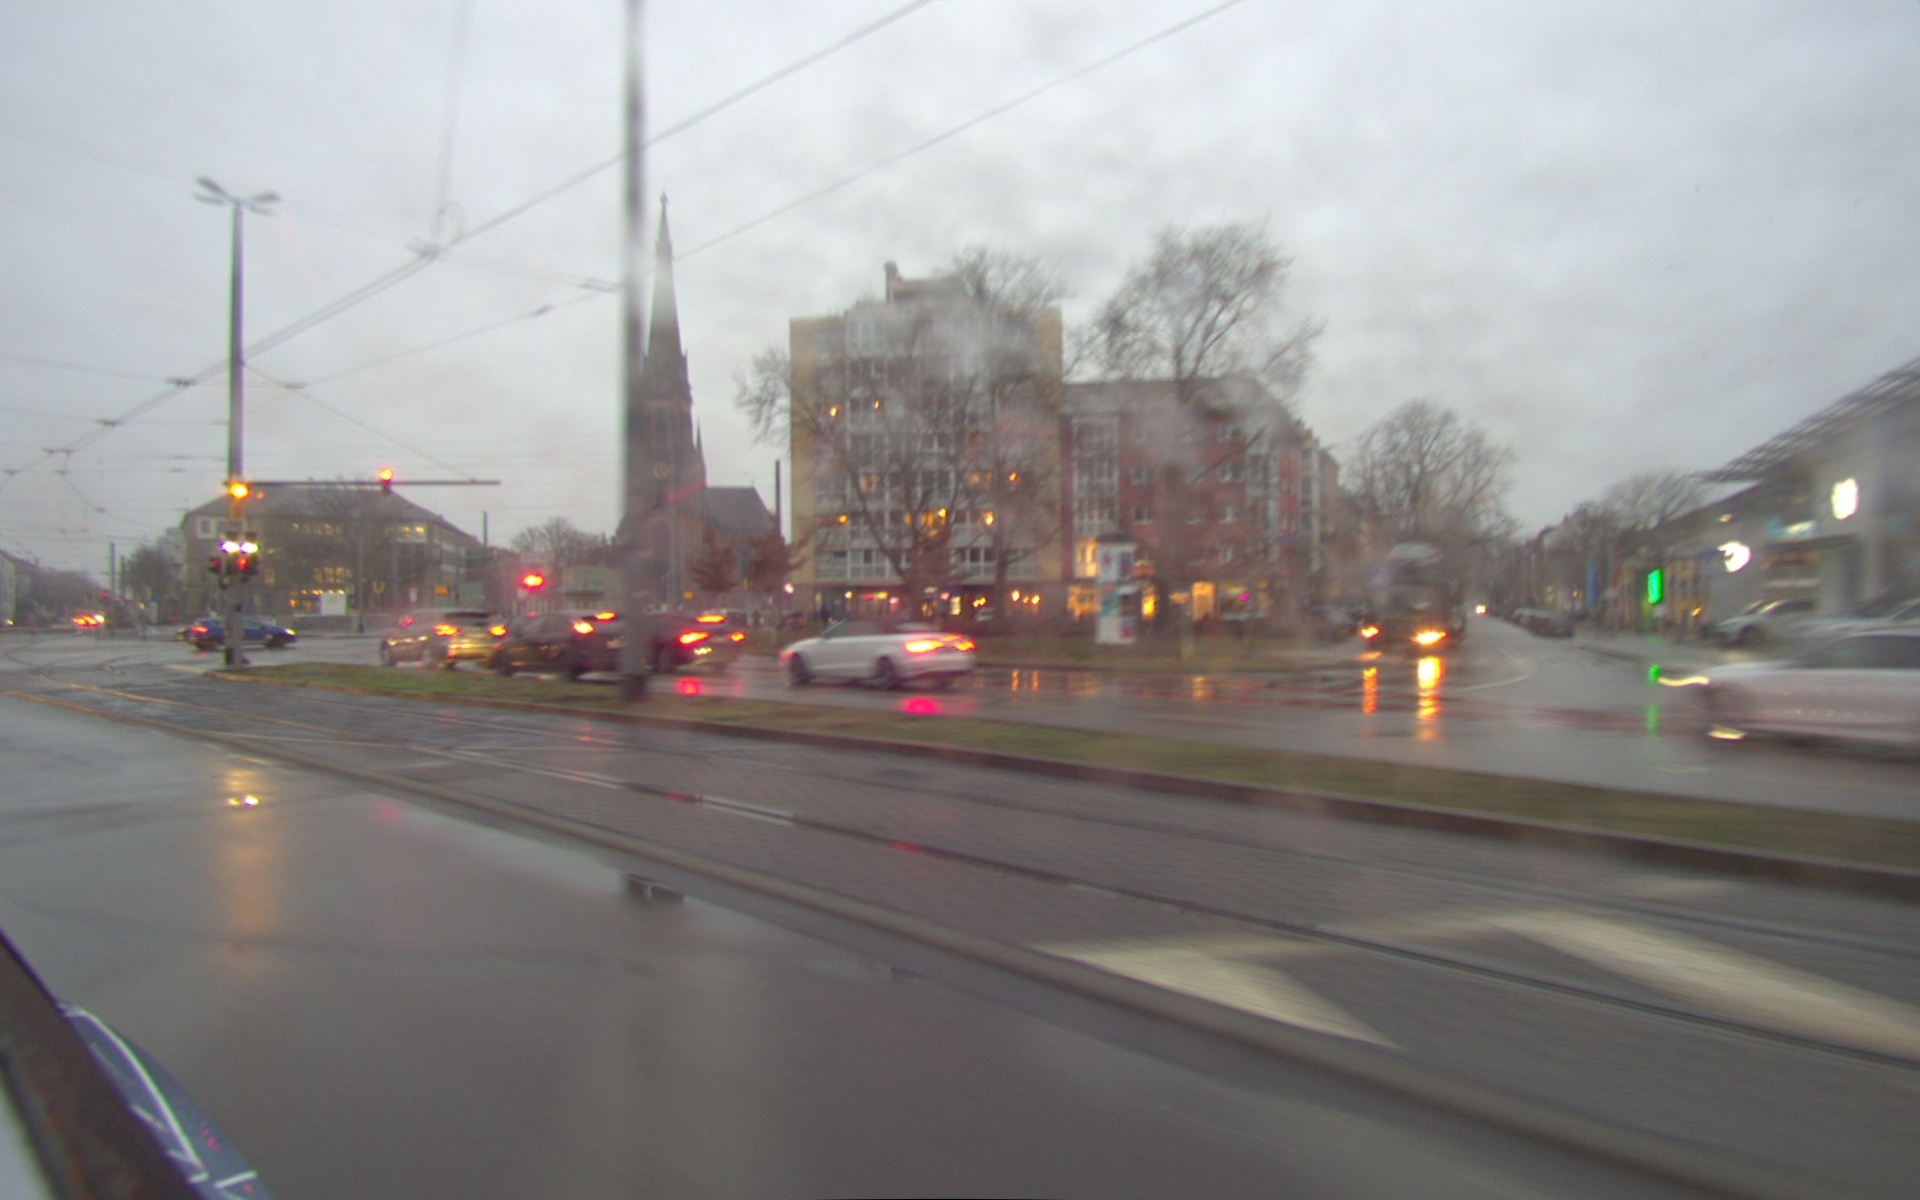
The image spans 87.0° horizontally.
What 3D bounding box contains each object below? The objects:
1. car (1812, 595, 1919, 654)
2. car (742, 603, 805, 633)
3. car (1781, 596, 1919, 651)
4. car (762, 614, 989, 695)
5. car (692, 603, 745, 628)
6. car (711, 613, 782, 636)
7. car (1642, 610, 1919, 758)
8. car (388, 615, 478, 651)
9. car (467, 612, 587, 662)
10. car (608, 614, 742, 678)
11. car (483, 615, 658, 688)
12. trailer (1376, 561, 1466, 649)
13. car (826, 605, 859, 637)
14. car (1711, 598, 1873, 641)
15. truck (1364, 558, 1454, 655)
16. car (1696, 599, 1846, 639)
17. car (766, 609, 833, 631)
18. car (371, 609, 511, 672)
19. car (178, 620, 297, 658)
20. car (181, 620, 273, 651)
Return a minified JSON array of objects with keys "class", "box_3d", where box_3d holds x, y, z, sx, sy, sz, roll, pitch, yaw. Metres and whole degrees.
[{"class":"car","box_3d":[25.703,0.631,26.861,4.403,1.534,1.866,-1,0,30]},{"class":"car","box_3d":[-12.922,1.238,70.132,3.946,2.029,1.999,-1,0,2]},{"class":"car","box_3d":[26.856,0.662,29.386,4.403,1.534,1.866,-1,0,30]},{"class":"car","box_3d":[-1.799,1.026,20.464,4.586,1.432,1.972,-1,-1,42]},{"class":"car","box_3d":[-19.872,1.262,83.306,3.931,2.029,2.007,-1,0,-25]},{"class":"car","box_3d":[-13.083,1.480,62.183,3.946,1.320,1.999,-1,0,2]},{"class":"car","box_3d":[10.719,0.884,11.398,1.966,1.509,4.825,0,0,-18]},{"class":"car","box_3d":[-28.386,1.738,54.701,1.807,1.807,4.547,-1,0,13]},{"class":"car","box_3d":[-12.892,1.065,30.059,3.998,1.368,1.706,-1,-1,41]},{"class":"car","box_3d":[-7.078,1.087,24.997,3.470,1.429,1.584,-1,-1,42]},{"class":"car","box_3d":[-8.370,1.052,21.631,3.999,1.401,1.852,-1,-3,42]},{"class":"trailer","box_3d":[21.553,0.163,46.723,2.625,3.443,14.909,-1,0,29]},{"class":"car","box_3d":[-8.040,1.412,68.932,1.968,2.029,4.008,-1,0,-10]},{"class":"car","box_3d":[31.207,0.726,38.140,4.403,1.534,1.866,-1,0,30]},{"class":"truck","box_3d":[17.717,0.223,39.740,2.646,3.443,6.690,-1,0,29]},{"class":"car","box_3d":[32.278,0.743,40.472,4.403,1.534,1.866,-1,0,30]},{"class":"car","box_3d":[-10.211,1.270,64.501,3.946,1.320,1.999,-1,0,2]},{"class":"car","box_3d":[-13.473,0.996,26.206,3.998,1.497,1.880,-1,-1,41]},{"class":"car","box_3d":[-32.769,1.746,45.957,4.199,1.580,1.828,0,-1,-42]},{"class":"car","box_3d":[-40.775,1.936,56.311,3.940,1.564,2.002,-1,0,-43]}]
